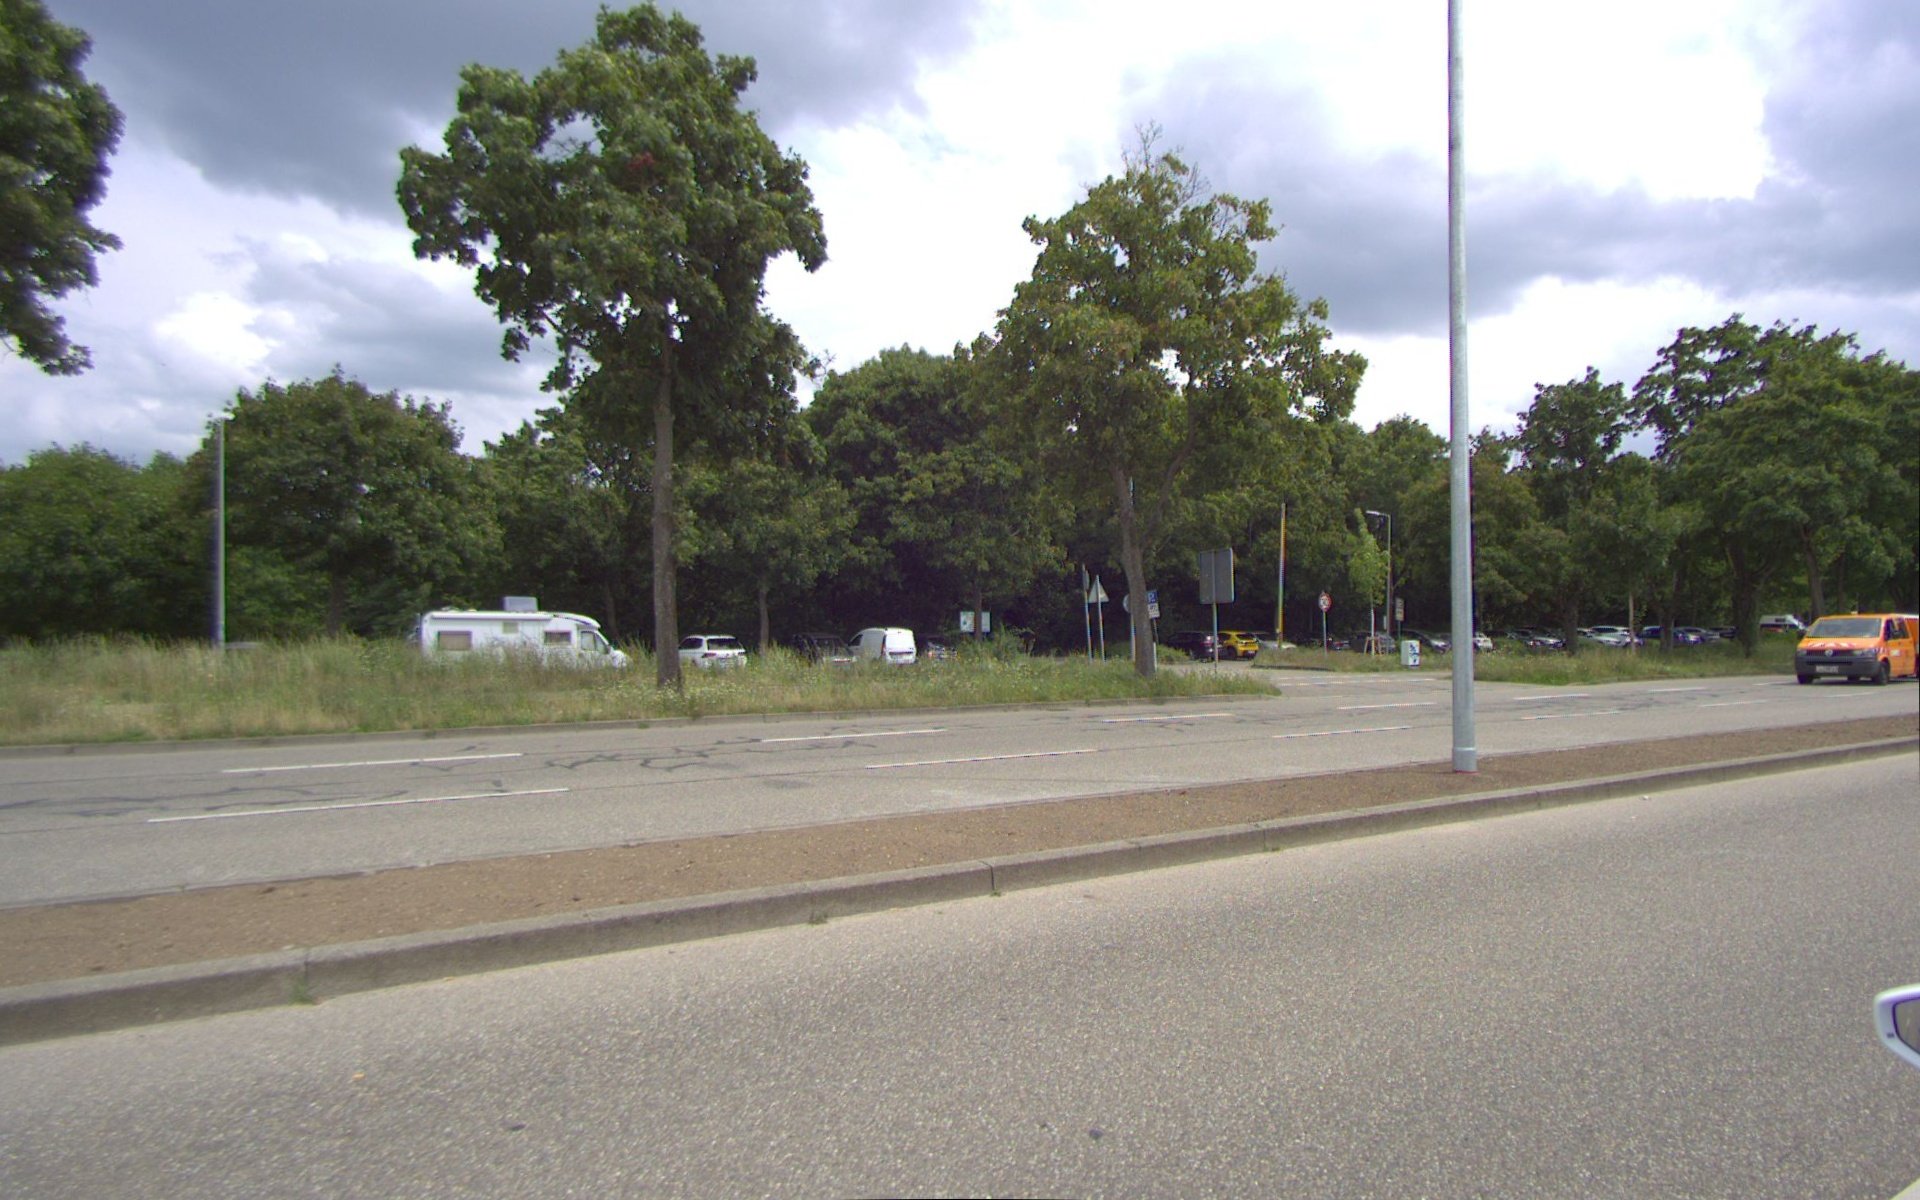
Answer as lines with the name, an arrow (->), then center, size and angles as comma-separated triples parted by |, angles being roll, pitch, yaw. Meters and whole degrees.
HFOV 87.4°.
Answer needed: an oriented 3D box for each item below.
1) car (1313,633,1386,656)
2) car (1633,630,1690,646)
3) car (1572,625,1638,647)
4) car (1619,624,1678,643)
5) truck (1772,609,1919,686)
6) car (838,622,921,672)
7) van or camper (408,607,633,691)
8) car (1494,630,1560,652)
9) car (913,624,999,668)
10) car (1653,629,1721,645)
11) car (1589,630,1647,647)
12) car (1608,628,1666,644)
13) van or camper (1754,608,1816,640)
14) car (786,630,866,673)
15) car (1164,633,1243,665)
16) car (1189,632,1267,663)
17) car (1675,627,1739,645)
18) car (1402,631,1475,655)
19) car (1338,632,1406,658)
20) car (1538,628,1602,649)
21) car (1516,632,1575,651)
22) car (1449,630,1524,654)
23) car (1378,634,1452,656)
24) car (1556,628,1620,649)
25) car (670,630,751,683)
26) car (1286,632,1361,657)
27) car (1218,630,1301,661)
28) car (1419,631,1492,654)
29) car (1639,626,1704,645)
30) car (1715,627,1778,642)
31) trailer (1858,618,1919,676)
car -> 22.793, 2.582, 58.877 | 1.545, 1.276, 3.969 | 0, -1, -29
car -> 53.945, 2.905, 77.296 | 1.423, 1.108, 3.352 | 0, -1, -29
car -> 47.418, 2.642, 73.880 | 1.859, 1.539, 3.635 | 0, -1, -28
car -> 52.566, 2.532, 76.760 | 1.305, 1.430, 3.536 | 0, -1, -28
truck -> 25.971, 1.297, 28.864 | 5.967, 2.021, 2.079 | 0, -2, -30
car -> -3.332, 1.849, 40.977 | 1.916, 1.912, 3.969 | 0, -1, -30
van or camper -> -14.466, 1.519, 33.222 | 6.640, 2.574, 2.460 | 0, -1, -30
car -> 38.718, 2.770, 68.658 | 1.687, 1.378, 3.631 | 0, -1, -28
car -> -0.219, 1.922, 42.787 | 2.022, 1.736, 3.969 | 0, -1, -30
car -> 57.908, 2.945, 80.067 | 1.904, 1.177, 3.968 | 0, -1, -30
car -> 49.154, 2.871, 75.079 | 1.423, 1.127, 3.352 | 0, -1, -29
car -> 50.699, 2.691, 75.257 | 1.423, 1.144, 3.352 | 0, -1, -29
van or camper -> 74.729, 2.153, 91.015 | 1.904, 2.793, 3.968 | 0, -1, -30
car -> -5.318, 1.984, 39.446 | 1.775, 1.506, 3.969 | 0, -1, -30
car -> 12.435, 2.473, 51.579 | 1.763, 1.518, 3.971 | 0, -1, -28
car -> 13.998, 2.459, 52.637 | 1.763, 1.518, 3.971 | 0, -1, -28
car -> 61.007, 2.917, 82.040 | 1.941, 1.445, 3.758 | 0, -1, -28
car -> 30.231, 2.699, 63.547 | 1.646, 1.378, 3.971 | 0, -1, -28
car -> 24.367, 2.624, 59.515 | 1.498, 1.430, 3.635 | 0, -1, -28
car -> 43.185, 2.696, 71.134 | 1.498, 1.430, 3.635 | 0, -1, -28
car -> 40.699, 2.859, 69.834 | 1.498, 1.223, 3.281 | 0, -1, -28
car -> 34.481, 2.734, 65.848 | 1.973, 1.429, 3.975 | 0, -1, -25
car -> 27.800, 2.718, 61.456 | 1.645, 1.254, 3.973 | 0, -1, -27
car -> 45.235, 2.760, 72.411 | 1.498, 1.430, 3.635 | 0, -1, -28
car -> -9.211, 2.008, 36.830 | 1.864, 1.739, 3.968 | 0, -1, -30
car -> 20.255, 2.466, 56.110 | 1.763, 1.274, 3.694 | 0, -1, -28
car -> 15.895, 2.407, 53.518 | 1.862, 1.518, 4.164 | 0, -1, -28
car -> 32.052, 2.748, 65.053 | 1.799, 1.378, 3.971 | 0, -1, -28
car -> 55.674, 2.759, 78.642 | 1.976, 1.428, 3.714 | 0, -1, -29
car -> 69.158, 3.034, 88.329 | 1.904, 1.177, 3.968 | 0, -1, -30
trailer -> 30.106, 1.459, 31.281 | 3.848, 1.712, 2.054 | 1, -3, -29
